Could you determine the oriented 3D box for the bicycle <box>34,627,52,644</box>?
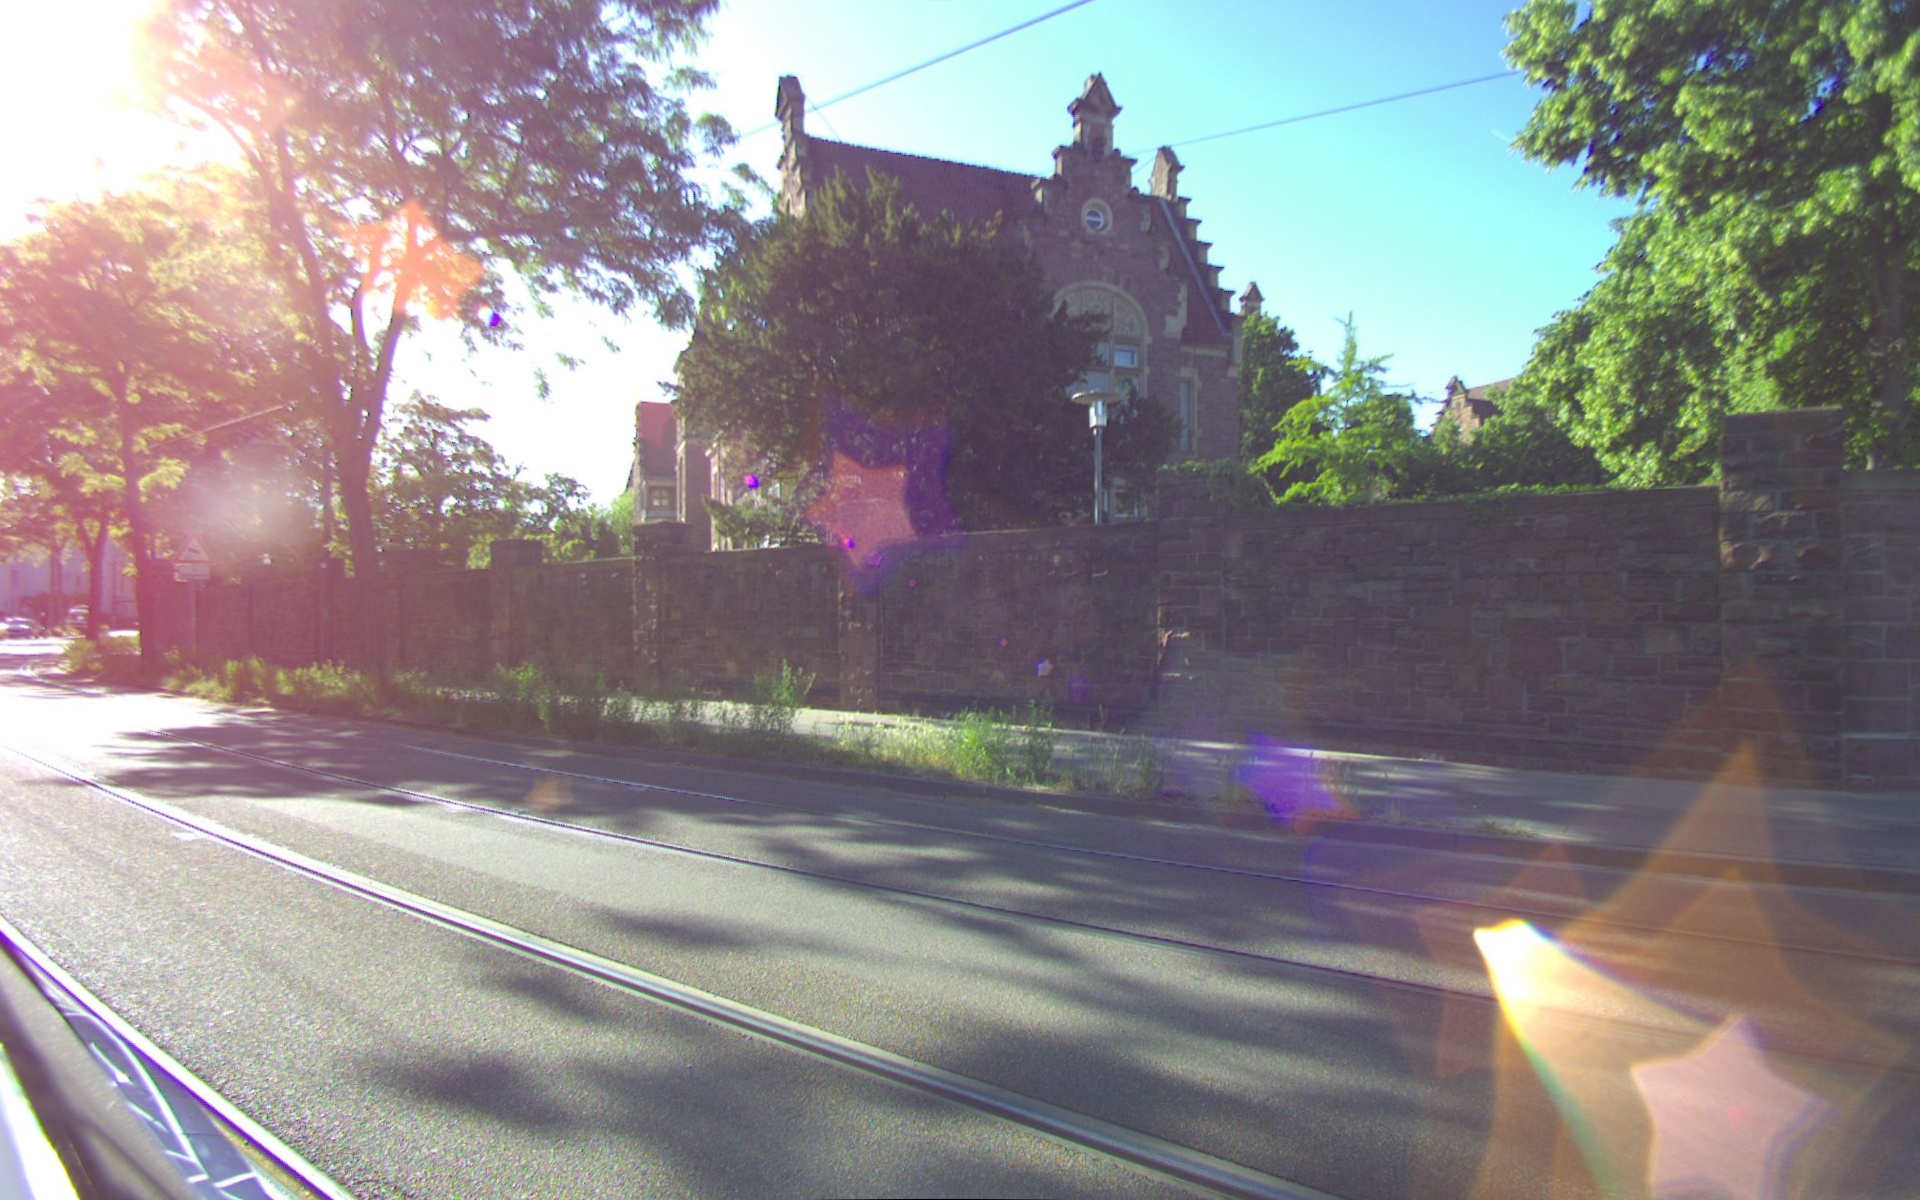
[{"bbox_3d":[-62.889,2.414,69.416,0.579,1.120,1.861,0,-1,-30],"label":"bicycle"}]

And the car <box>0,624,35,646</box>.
[{"bbox_3d":[-68.901,2.512,73.831,1.969,1.560,4.005,0,-1,-41],"label":"car"}]

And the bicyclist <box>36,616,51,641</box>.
[{"bbox_3d":[-62.858,1.966,69.389,0.633,1.653,0.667,-1,0,-31],"label":"bicyclist"}]
